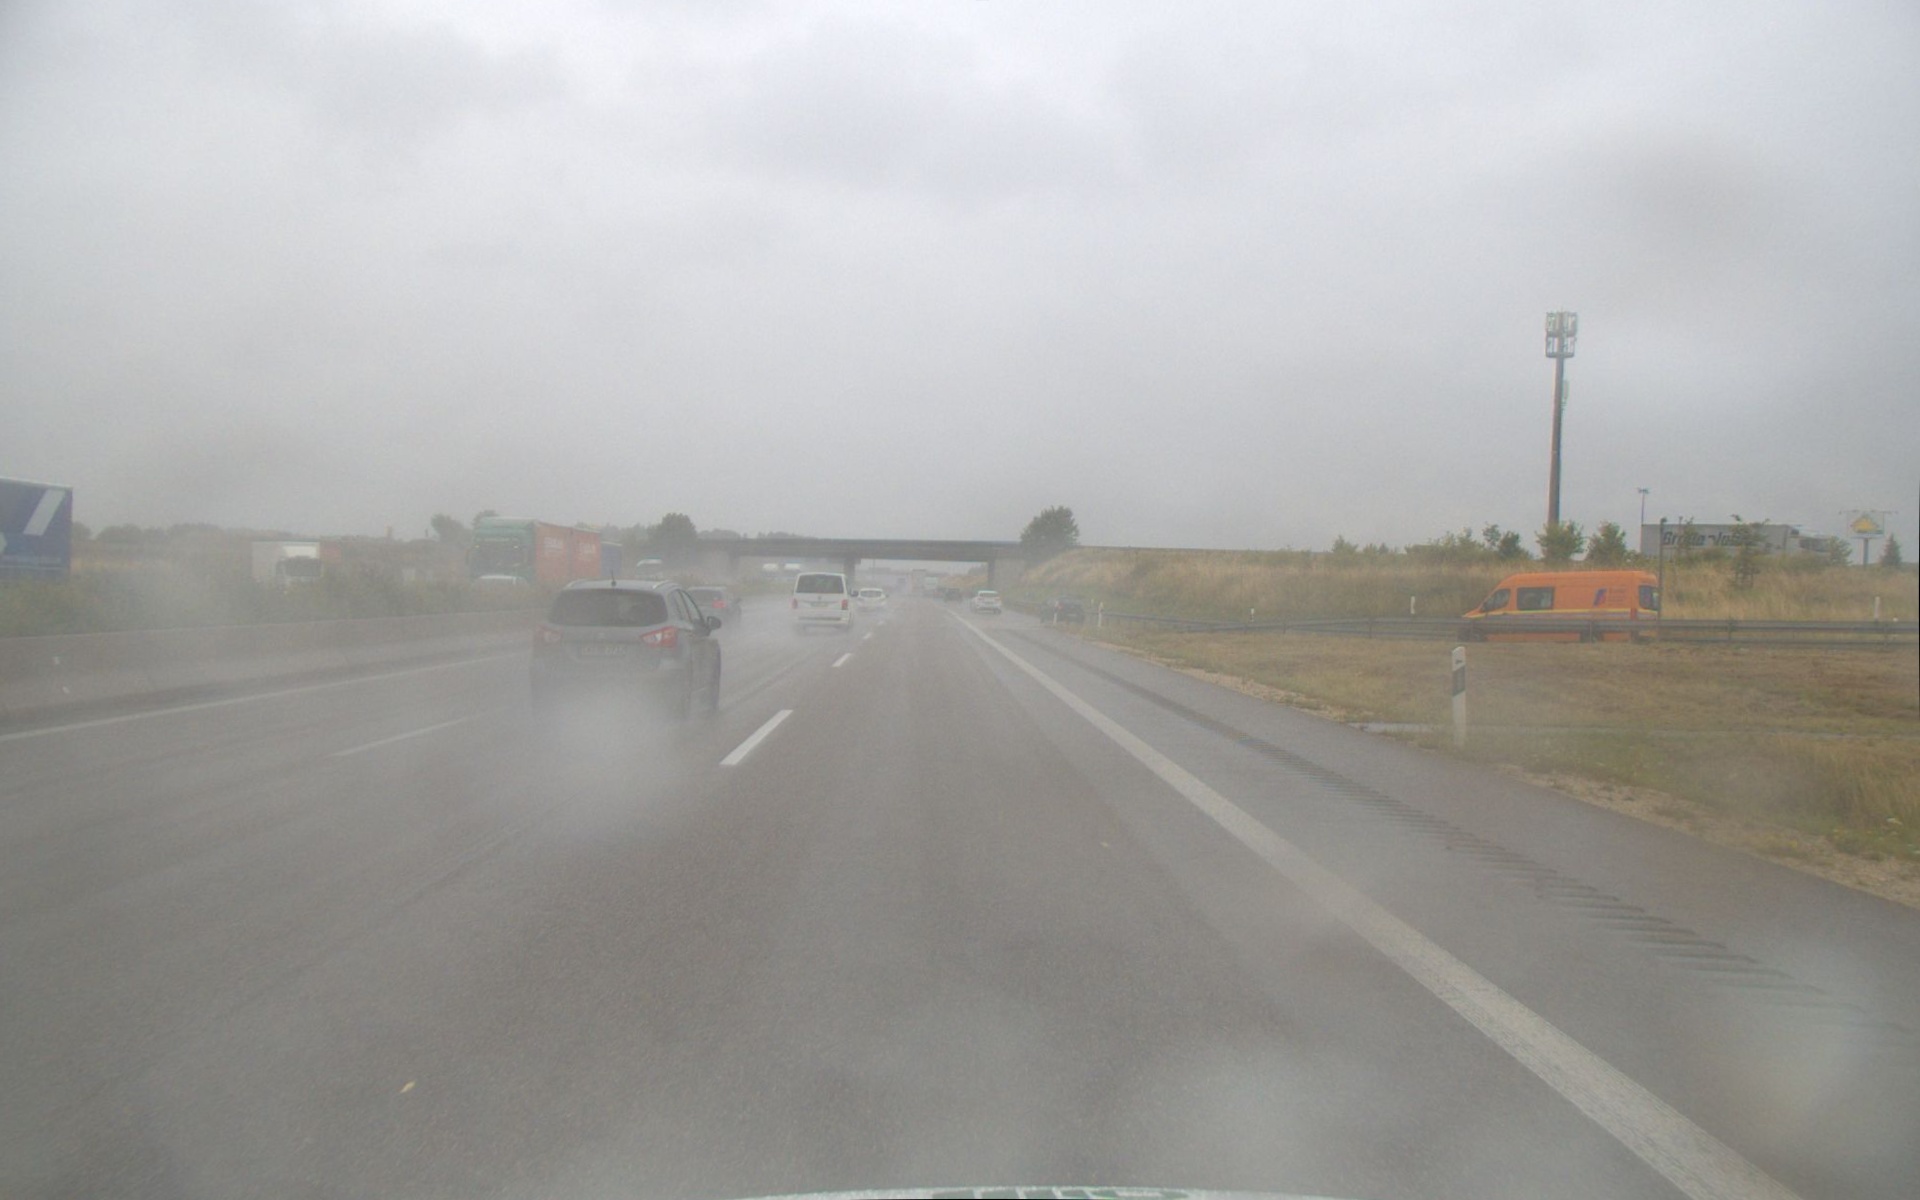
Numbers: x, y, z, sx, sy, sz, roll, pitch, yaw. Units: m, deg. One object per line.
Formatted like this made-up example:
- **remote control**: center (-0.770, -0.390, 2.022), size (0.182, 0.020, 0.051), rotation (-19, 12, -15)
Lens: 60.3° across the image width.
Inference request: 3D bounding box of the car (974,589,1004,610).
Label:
- **car**: center (1.883, -0.021, 109.584), size (1.952, 1.288, 4.000), rotation (1, 0, 0)

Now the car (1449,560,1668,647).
- **car**: center (20.235, 0.070, 56.234), size (2.051, 2.661, 6.778), rotation (2, 1, -43)

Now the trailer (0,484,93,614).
- **trailer**: center (-27.168, -1.344, 42.205), size (3.052, 3.477, 14.230), rotation (0, 0, -2)

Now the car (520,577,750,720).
- **car**: center (-3.835, 0.516, 20.360), size (1.808, 1.539, 4.757), rotation (1, 0, 1)

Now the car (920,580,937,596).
- **car**: center (-4.130, -1.573, 217.668), size (1.954, 2.138, 3.997), rotation (0, 0, -4)

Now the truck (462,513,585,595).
- **truck**: center (-19.808, -2.008, 75.754), size (3.200, 3.501, 10.127), rotation (0, 0, -1)

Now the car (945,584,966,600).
- **car**: center (-0.436, -0.757, 160.576), size (1.765, 1.534, 3.997), rotation (0, 0, -4)

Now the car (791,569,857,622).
- **car**: center (-4.376, -0.145, 53.745), size (1.859, 1.613, 3.999), rotation (1, 0, -1)

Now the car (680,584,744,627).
- **car**: center (-8.333, 0.182, 55.769), size (1.580, 1.378, 3.999), rotation (1, 0, -1)

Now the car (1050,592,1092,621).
- **car**: center (5.804, 0.339, 86.694), size (1.698, 1.446, 3.655), rotation (1, 1, -4)

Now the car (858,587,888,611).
- **car**: center (-4.694, -0.041, 89.577), size (1.438, 1.229, 2.991), rotation (3, 0, -1)
